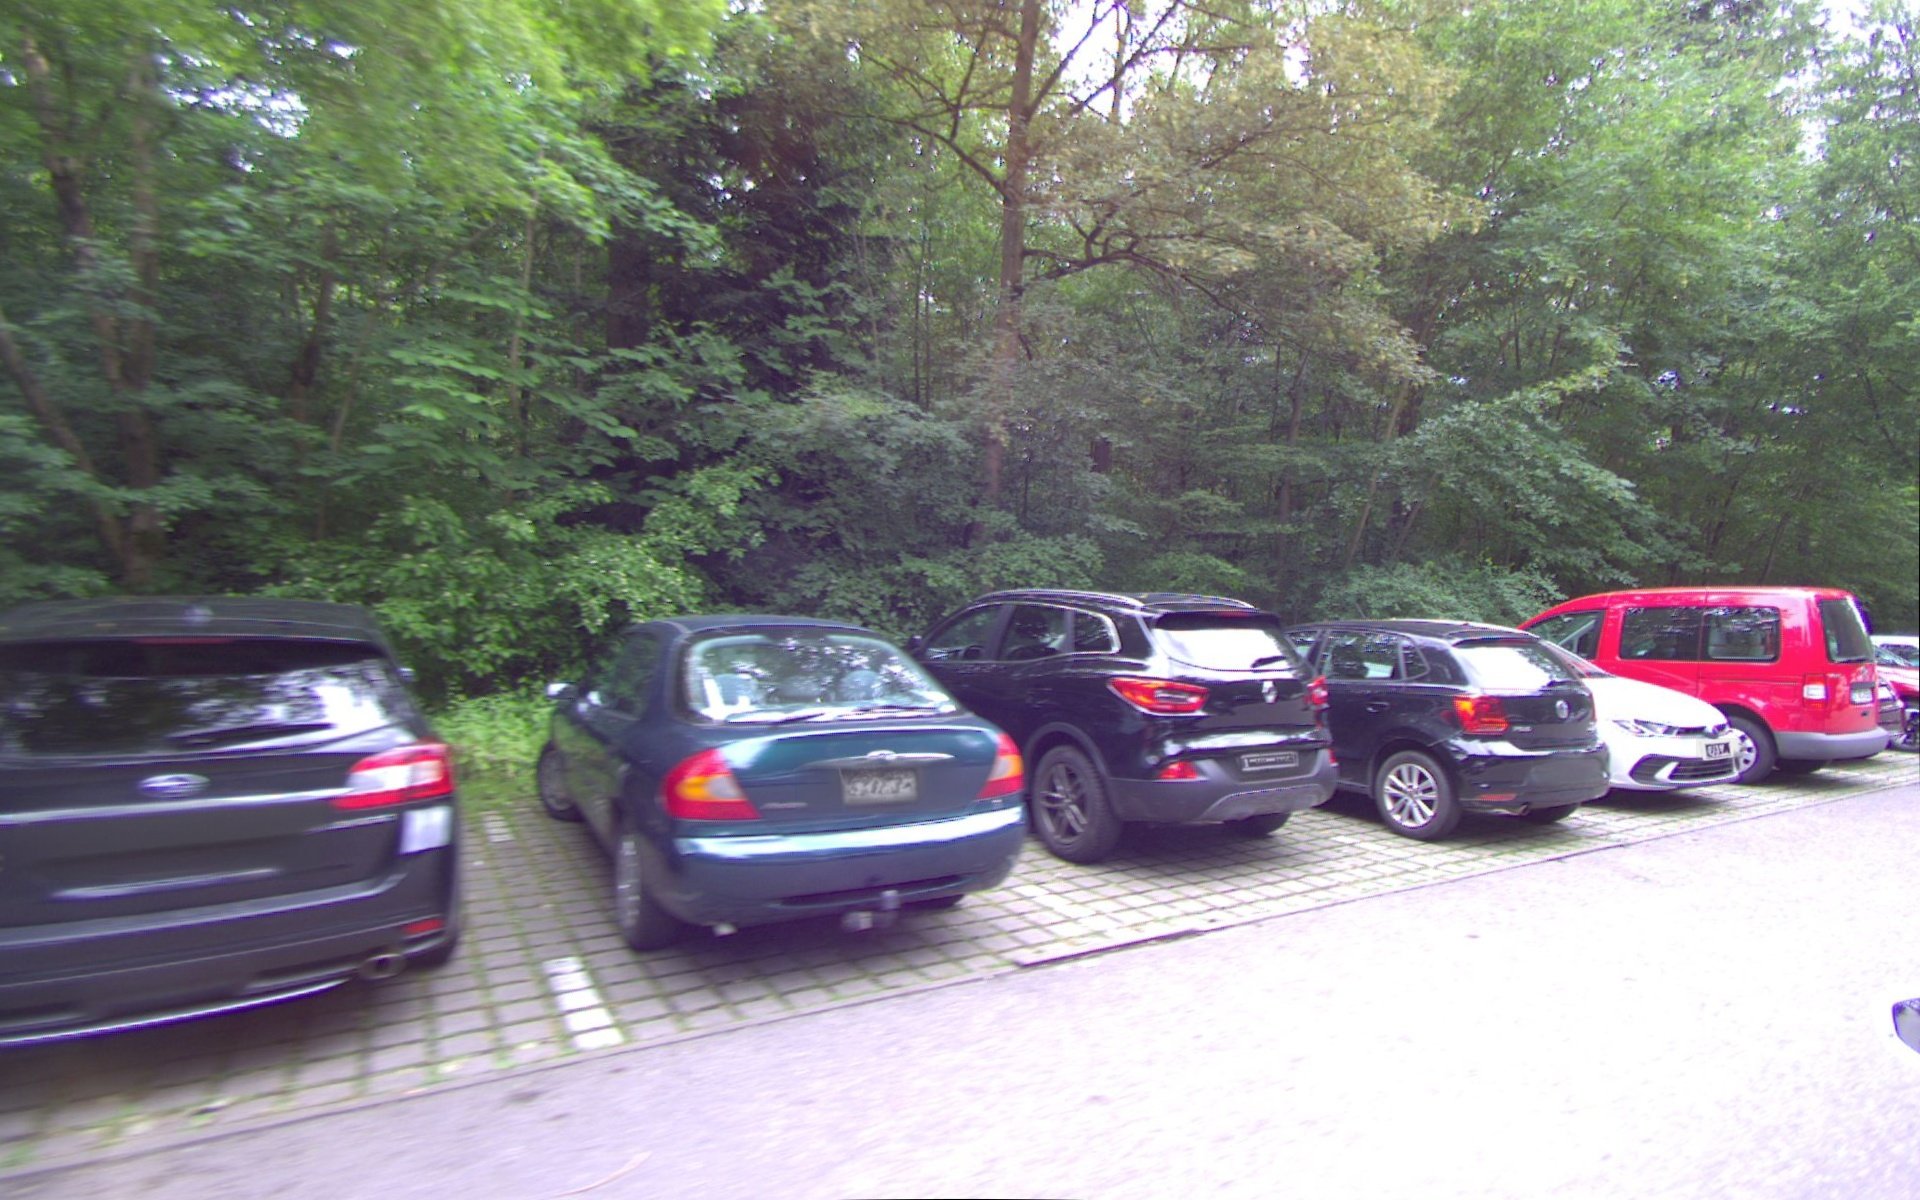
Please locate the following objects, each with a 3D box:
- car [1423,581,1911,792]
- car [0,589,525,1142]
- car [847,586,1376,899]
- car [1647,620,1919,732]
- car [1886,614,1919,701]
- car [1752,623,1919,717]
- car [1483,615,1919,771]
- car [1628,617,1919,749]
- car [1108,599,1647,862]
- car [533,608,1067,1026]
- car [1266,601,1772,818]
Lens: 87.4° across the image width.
[{"bbox_3d":[7.375,0.771,10.909,1.797,1.839,3.967,1,-1,-31],"label":"car"},{"bbox_3d":[-3.285,0.717,4.643,1.723,1.461,3.964,1,0,-33],"label":"car"},{"bbox_3d":[0.780,0.756,7.351,1.721,1.618,3.967,1,-1,-31],"label":"car"},{"bbox_3d":[13.111,1.077,15.352,1.750,1.467,3.968,1,-1,-30],"label":"car"},{"bbox_3d":[19.979,1.106,18.539,1.677,1.684,3.966,1,-1,-32],"label":"car"},{"bbox_3d":[15.744,1.131,16.520,1.675,1.467,3.972,1,-1,-28],"label":"car"},{"bbox_3d":[8.828,0.978,12.309,1.797,1.536,3.968,1,-1,-30],"label":"car"},{"bbox_3d":[11.540,1.021,13.461,1.750,1.536,3.968,1,-1,-30],"label":"car"},{"bbox_3d":[3.120,0.826,8.364,1.720,1.618,3.970,1,-1,-28],"label":"car"},{"bbox_3d":[-1.255,0.799,5.734,1.721,1.441,3.968,1,0,-30],"label":"car"},{"bbox_3d":[5.046,0.840,9.666,1.720,1.618,3.970,1,-1,-28],"label":"car"}]
